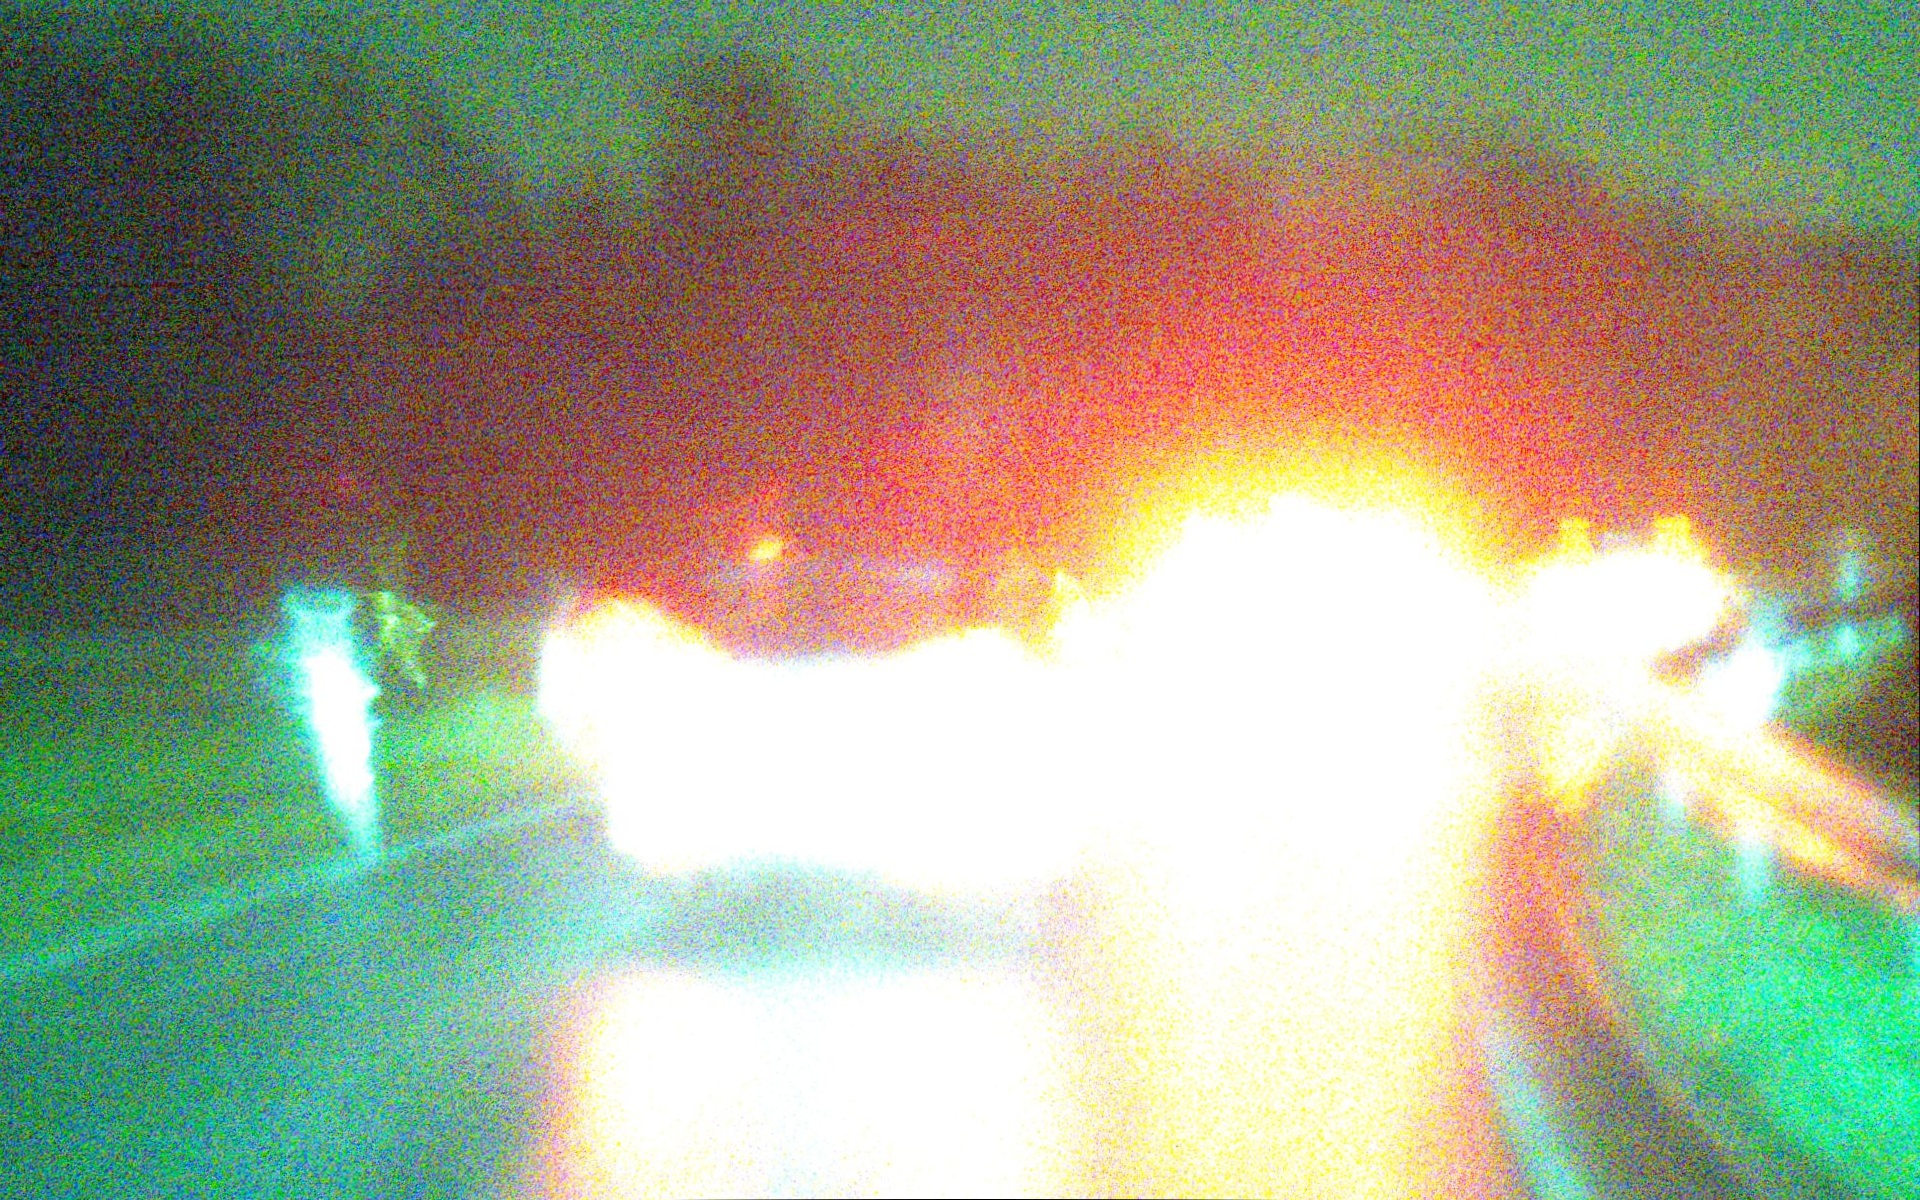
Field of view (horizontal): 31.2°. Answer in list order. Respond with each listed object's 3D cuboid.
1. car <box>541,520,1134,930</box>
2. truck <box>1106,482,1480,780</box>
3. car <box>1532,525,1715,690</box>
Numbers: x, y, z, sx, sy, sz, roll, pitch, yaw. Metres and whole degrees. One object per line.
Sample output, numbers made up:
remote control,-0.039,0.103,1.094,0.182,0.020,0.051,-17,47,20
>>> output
car,-0.370,0.439,14.552,1.945,1.486,3.715,-1,1,7
truck,2.984,0.208,32.848,3.070,2.520,7.166,0,1,2
car,8.307,0.058,42.827,1.837,1.942,3.997,1,1,17
